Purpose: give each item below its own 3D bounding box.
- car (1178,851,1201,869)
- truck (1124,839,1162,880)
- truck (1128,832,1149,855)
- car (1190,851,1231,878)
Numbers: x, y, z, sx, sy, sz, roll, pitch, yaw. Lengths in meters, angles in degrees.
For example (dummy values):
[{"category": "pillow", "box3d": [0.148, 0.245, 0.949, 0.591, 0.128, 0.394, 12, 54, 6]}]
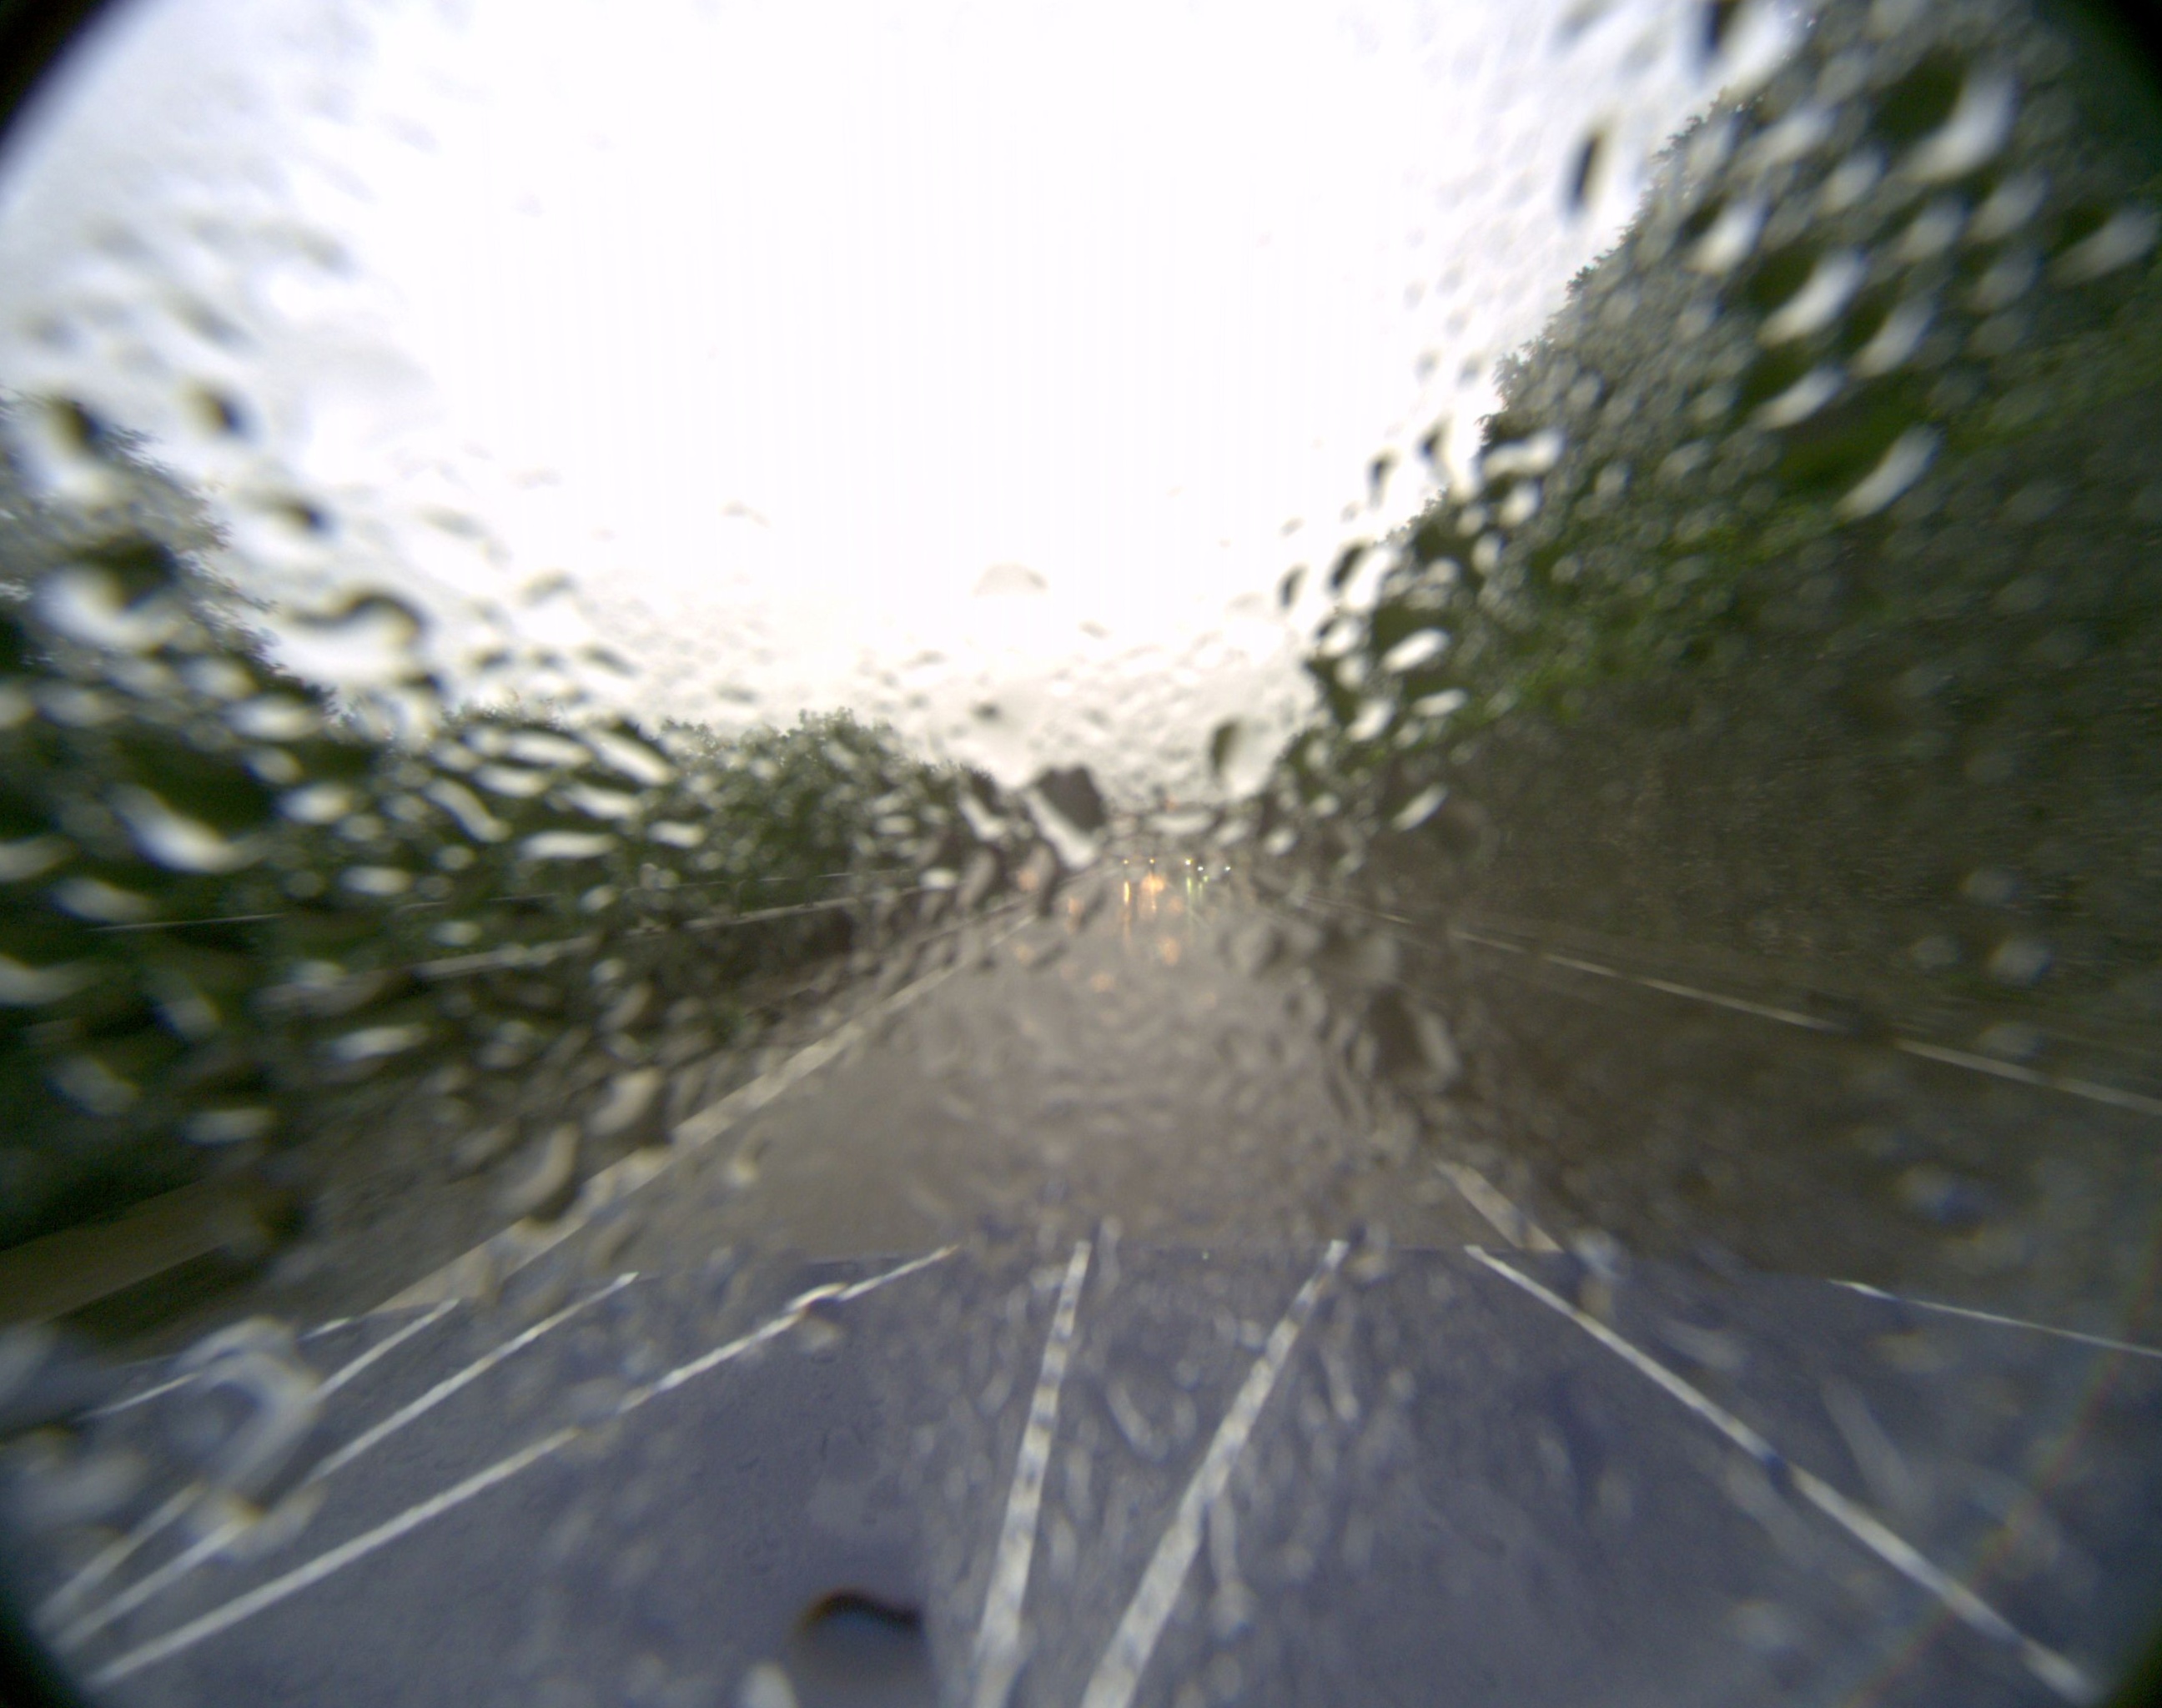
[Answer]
[{"category": "car", "box3d": [9.198, 0.501, 64.148, 1.826, 1.375, 4.002, -3, 0, 9]}, {"category": "truck", "box3d": [4.259, 0.331, 50.926, 2.107, 2.481, 8.007, 0, 0, 8]}, {"category": "truck", "box3d": [10.822, -1.925, 141.879, 2.807, 4.280, 6.472, 0, 1, 15]}, {"category": "car", "box3d": [7.169, 0.540, 42.398, 1.827, 1.375, 4.001, -1, 0, 4]}]
